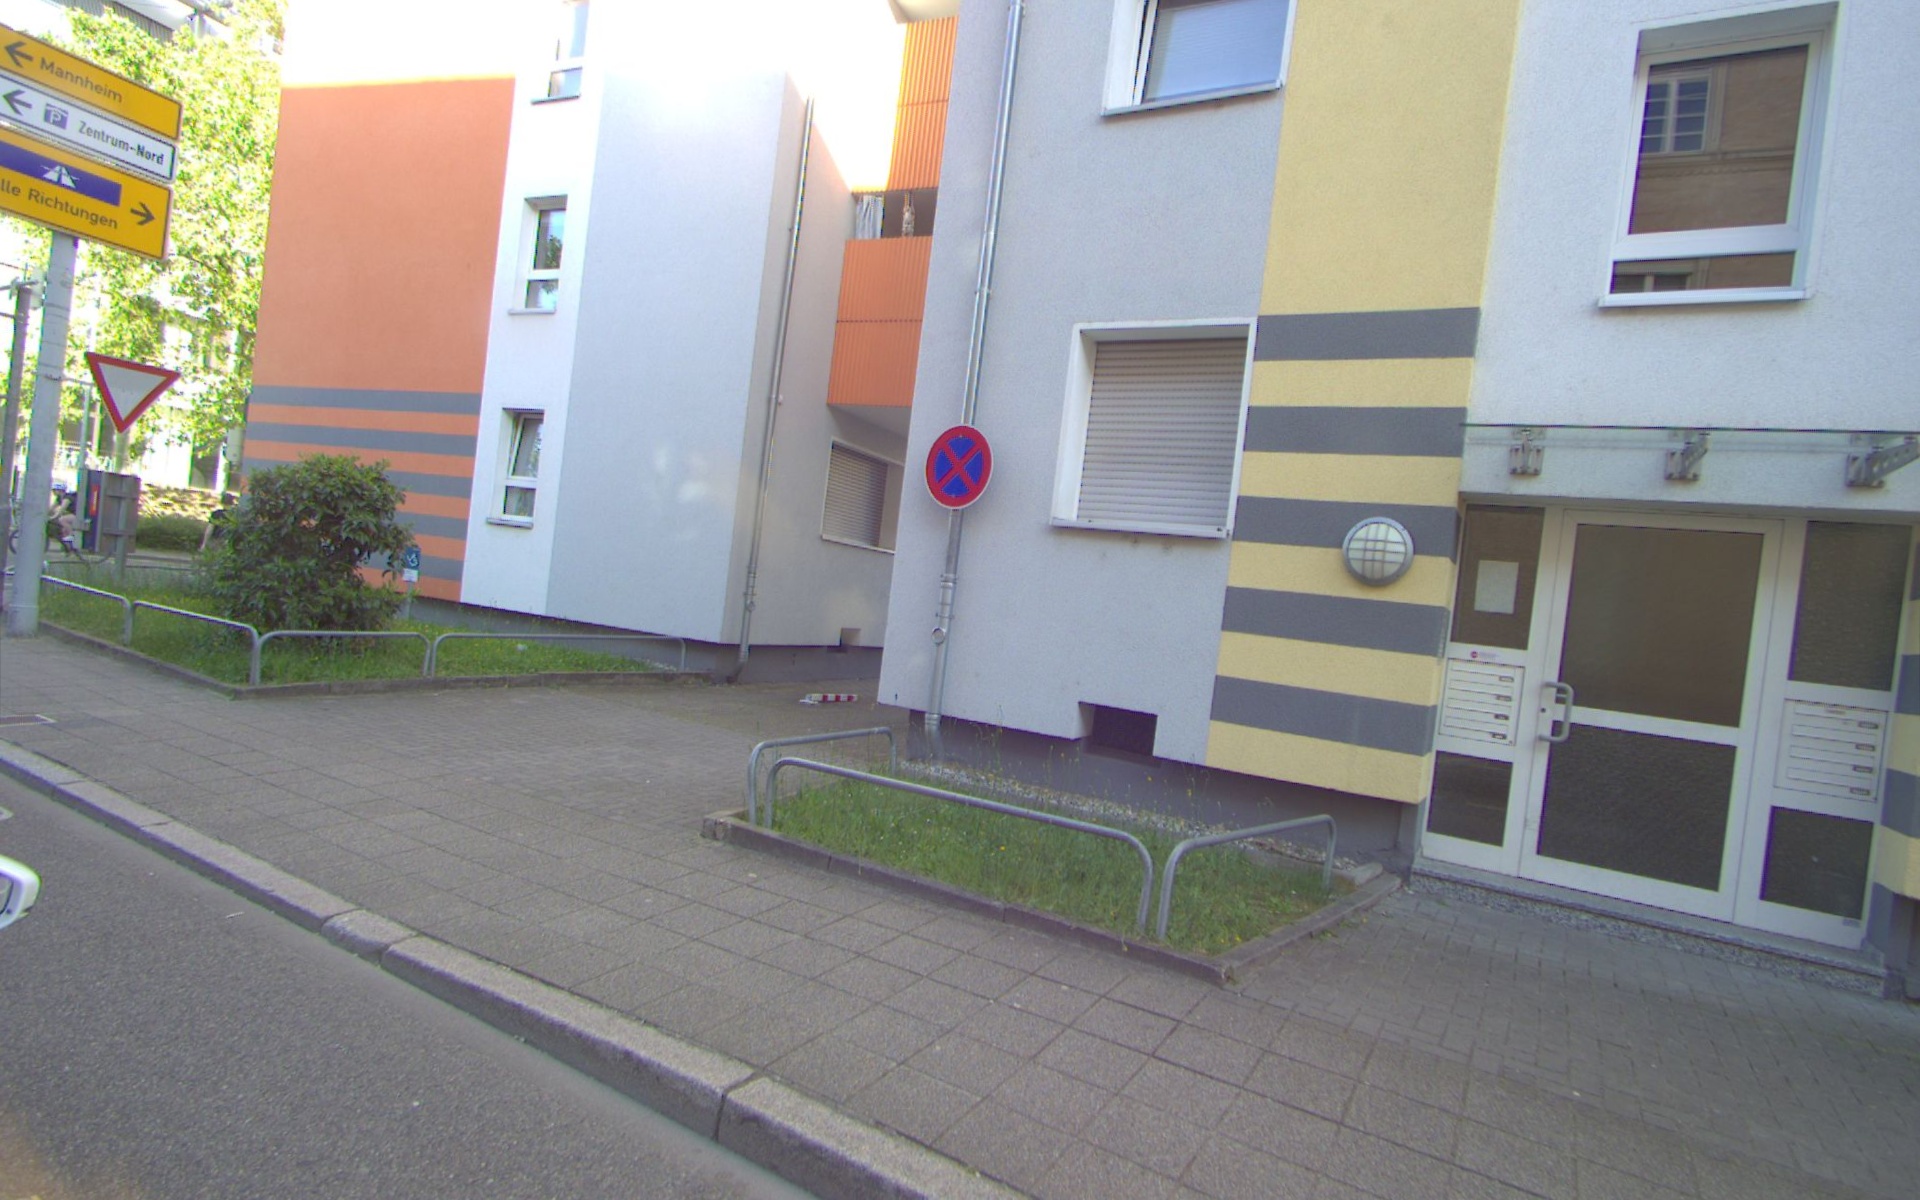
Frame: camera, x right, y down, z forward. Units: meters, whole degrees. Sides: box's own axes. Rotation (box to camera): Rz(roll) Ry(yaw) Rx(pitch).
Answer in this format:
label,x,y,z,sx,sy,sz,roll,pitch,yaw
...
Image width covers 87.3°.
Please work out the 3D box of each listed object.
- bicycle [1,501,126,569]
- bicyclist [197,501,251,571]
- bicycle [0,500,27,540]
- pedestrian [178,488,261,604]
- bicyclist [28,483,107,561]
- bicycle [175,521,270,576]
label,x,y,z,sx,sy,sz,roll,pitch,yaw
bicycle,-18.646,-1.340,20.971,0.616,1.166,1.782,7,0,26
bicyclist,-18.824,-1.628,25.739,0.617,1.649,0.824,7,1,32
bicycle,-26.401,-2.235,27.389,1.409,1.021,0.379,7,1,-11
pedestrian,-12.548,-0.901,17.068,0.690,1.831,0.719,7,-1,-9
bicyclist,-18.600,-1.607,20.976,0.616,1.464,0.973,7,1,26
bicycle,-18.856,-1.303,25.764,0.617,1.166,1.780,7,0,32
